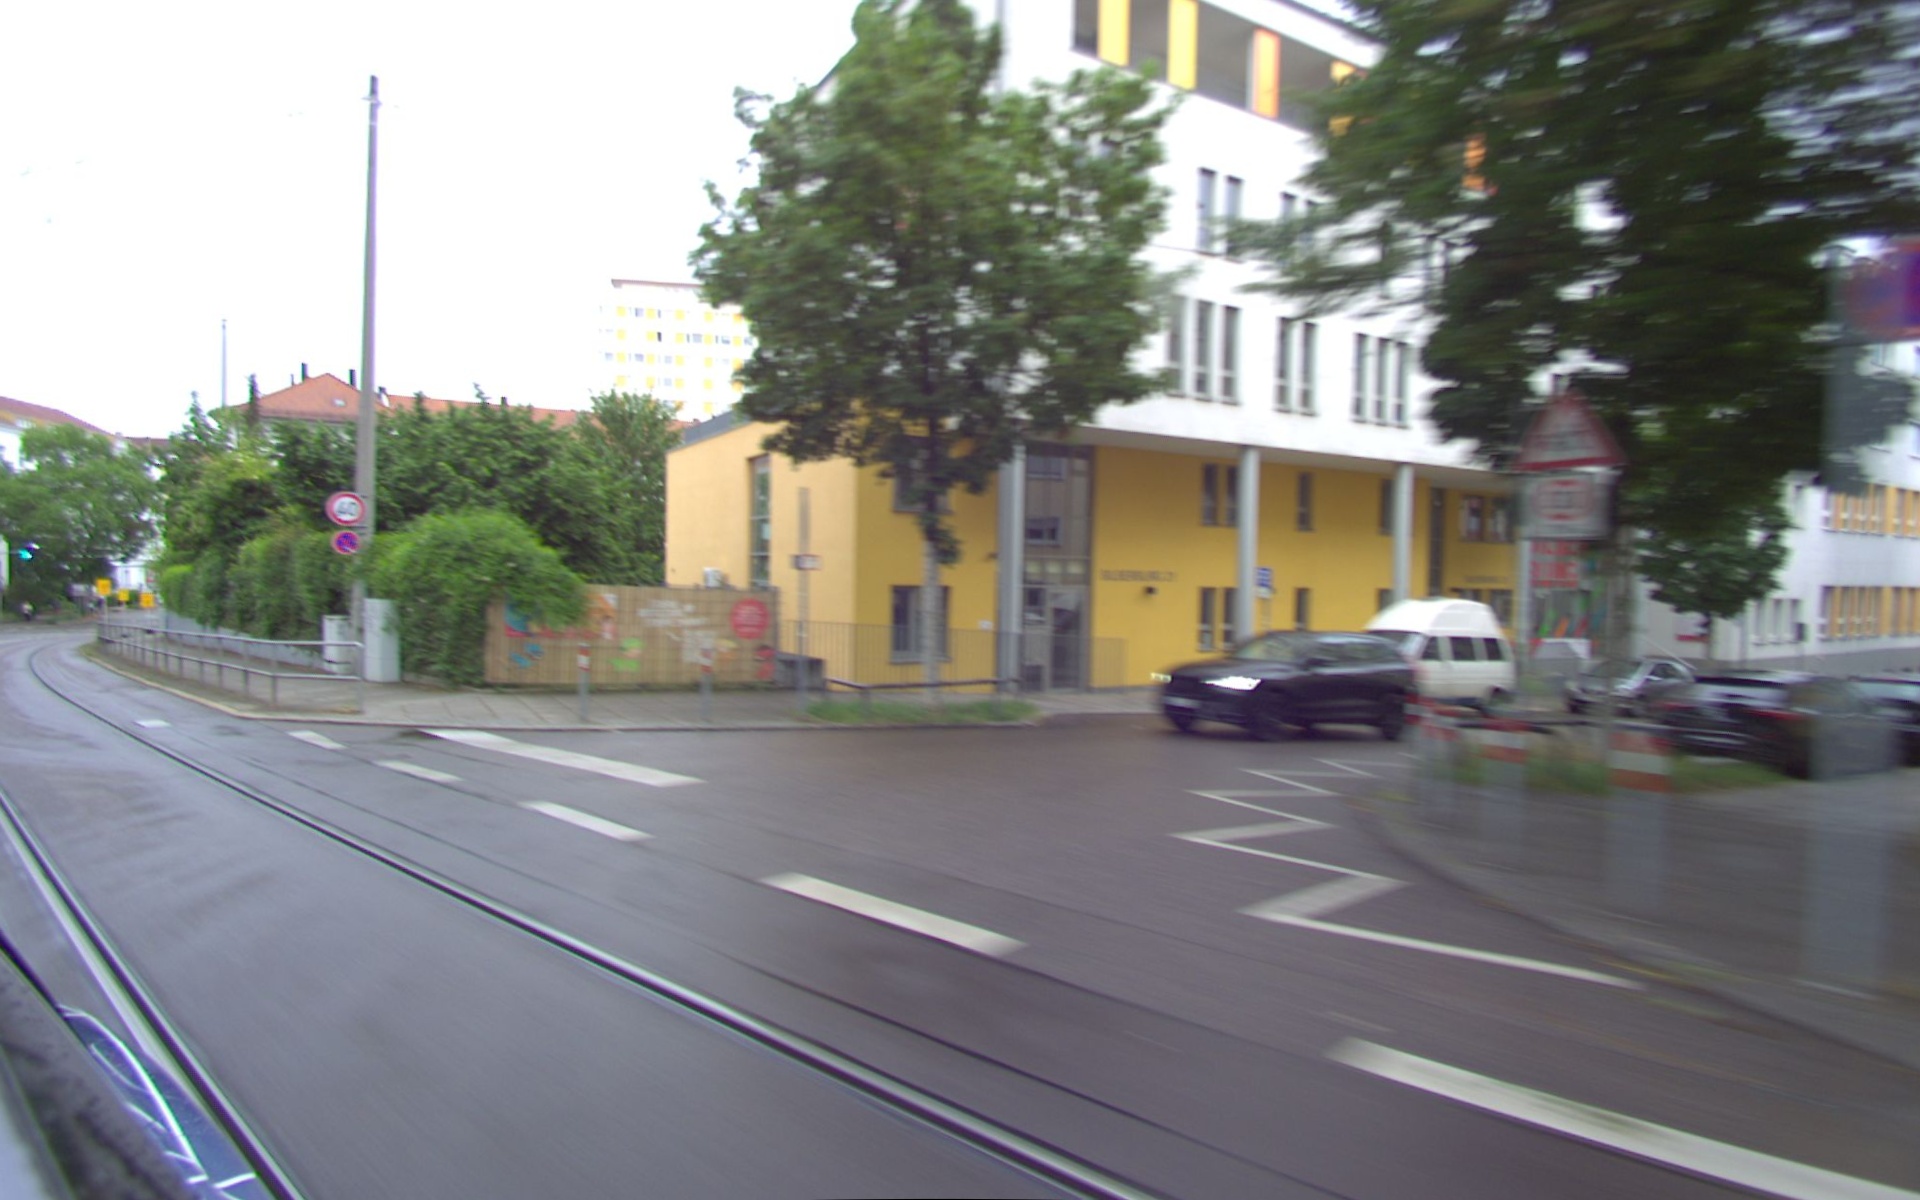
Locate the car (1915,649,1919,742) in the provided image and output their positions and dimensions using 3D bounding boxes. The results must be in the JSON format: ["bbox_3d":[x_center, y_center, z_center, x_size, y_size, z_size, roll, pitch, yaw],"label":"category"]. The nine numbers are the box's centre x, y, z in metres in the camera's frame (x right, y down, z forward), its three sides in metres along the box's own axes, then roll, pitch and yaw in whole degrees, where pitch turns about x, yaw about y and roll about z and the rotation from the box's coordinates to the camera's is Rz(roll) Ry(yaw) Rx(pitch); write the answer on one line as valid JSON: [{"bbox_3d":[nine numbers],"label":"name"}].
[{"bbox_3d":[20.991,1.973,20.028,4.059,1.825,1.956,4,-2,-30],"label":"car"}]

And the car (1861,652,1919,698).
[{"bbox_3d":[34.293,2.723,36.320,3.931,1.522,1.805,4,-2,-30],"label":"car"}]

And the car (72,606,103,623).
[{"bbox_3d":[-87.084,1.418,101.009,1.770,1.521,4.011,-1,1,-32],"label":"car"}]

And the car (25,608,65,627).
[{"bbox_3d":[-76.642,1.450,84.812,1.770,1.521,4.011,-1,1,-32],"label":"car"}]

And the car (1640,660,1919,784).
[{"bbox_3d":[11.317,1.583,13.672,4.059,1.358,1.956,4,-2,-30],"label":"car"}]

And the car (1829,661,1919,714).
[{"bbox_3d":[29.756,2.811,32.372,3.931,1.522,1.805,4,-2,-30],"label":"car"}]

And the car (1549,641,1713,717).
[{"bbox_3d":[17.543,2.060,26.419,4.059,1.771,1.956,4,-2,-30],"label":"car"}]

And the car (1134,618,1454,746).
[{"bbox_3d":[5.208,1.241,15.625,4.690,1.690,2.077,4,-2,-30],"label":"car"}]

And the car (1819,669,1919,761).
[{"bbox_3d":[16.405,1.916,16.856,4.059,1.358,1.956,4,-2,-30],"label":"car"}]

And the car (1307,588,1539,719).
[{"bbox_3d":[10.062,1.188,21.875,4.986,2.548,2.006,4,-2,-30],"label":"car"}]

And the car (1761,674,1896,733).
[{"bbox_3d":[25.357,2.996,29.541,3.931,1.522,1.805,4,-2,-30],"label":"car"}]
